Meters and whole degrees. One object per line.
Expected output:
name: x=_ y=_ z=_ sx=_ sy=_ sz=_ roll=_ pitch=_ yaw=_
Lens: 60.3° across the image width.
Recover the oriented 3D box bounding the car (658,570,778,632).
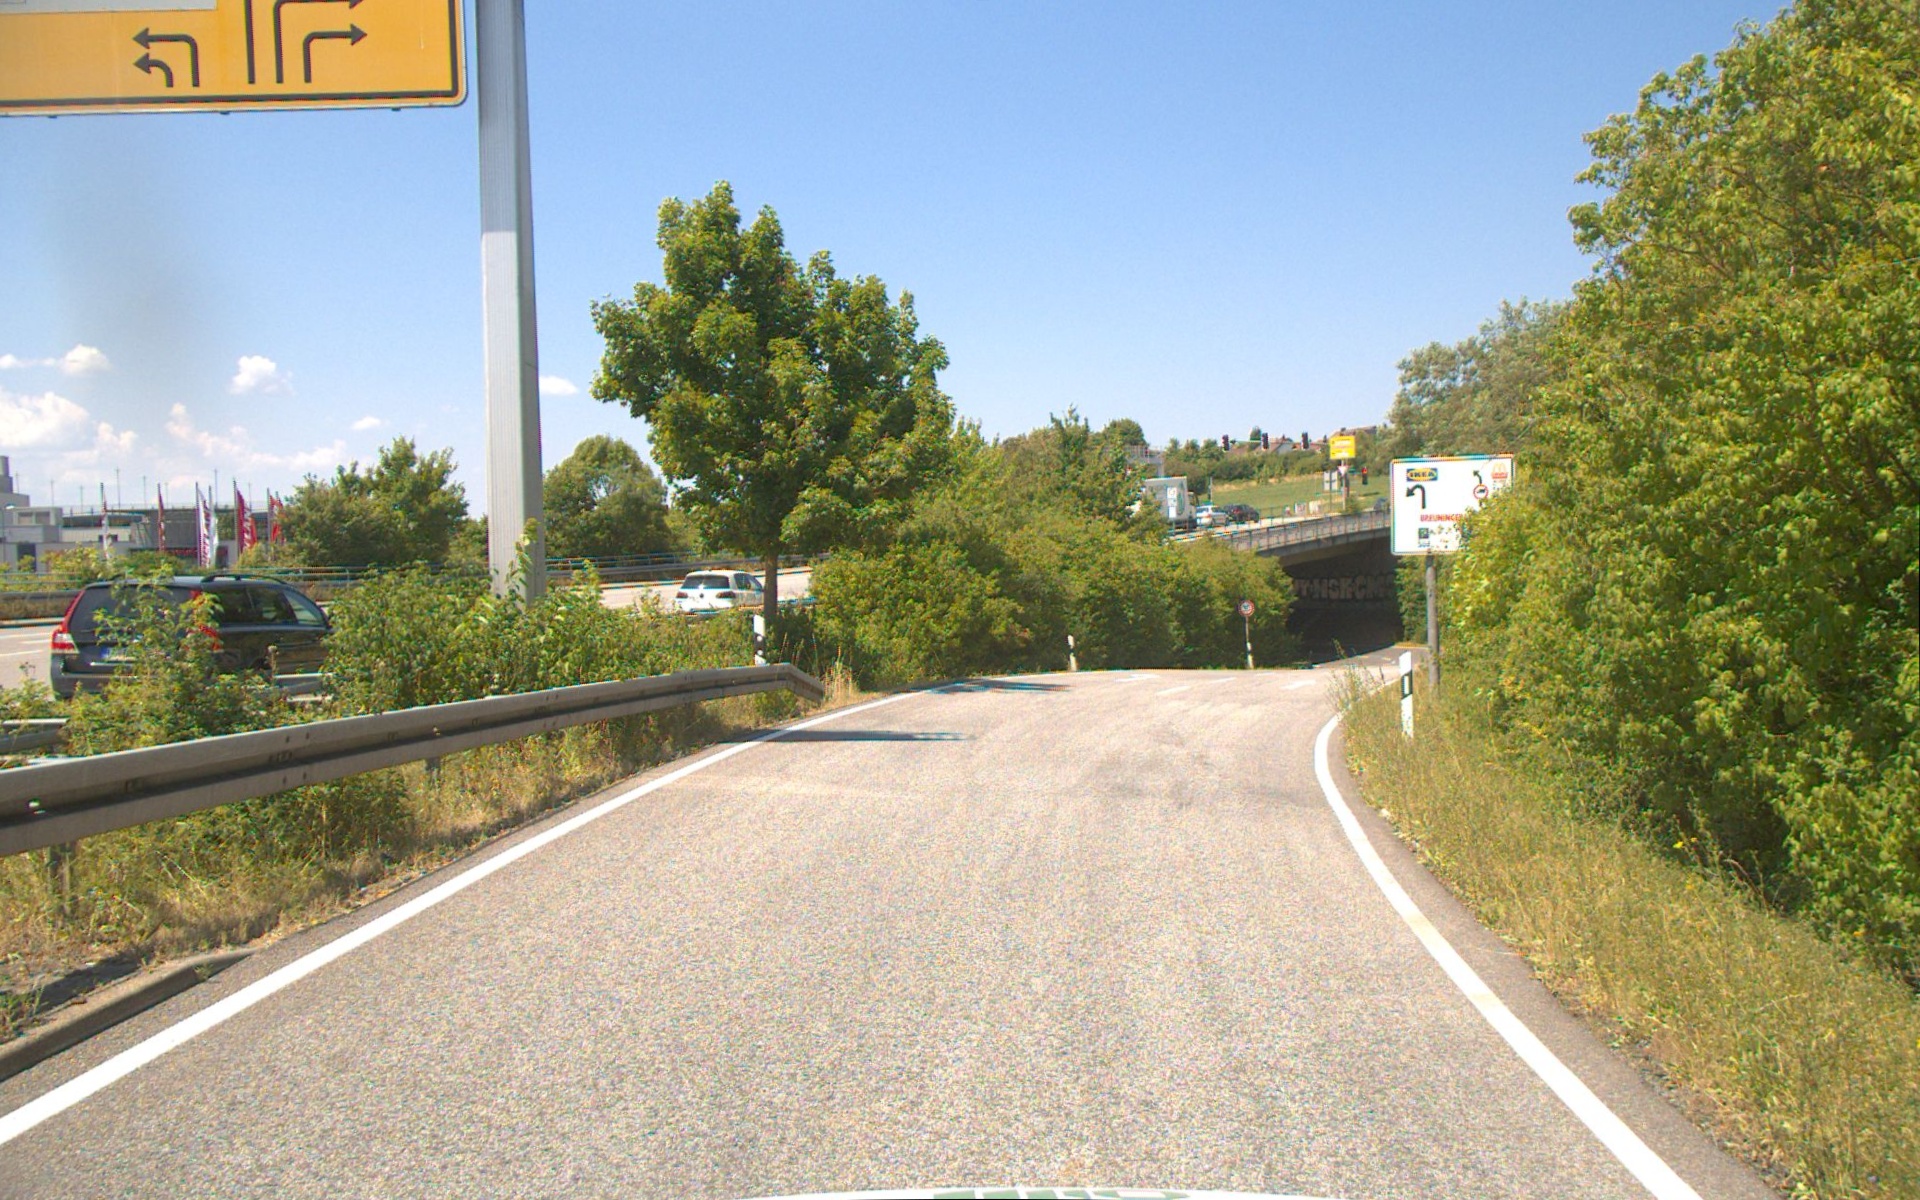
car: x=-6.184 y=0.014 z=42.724 sx=1.951 sy=1.512 sz=4.139 roll=-1 pitch=0 yaw=9

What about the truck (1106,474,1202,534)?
truck: x=12.847 y=-6.251 z=108.516 sx=2.970 sy=3.651 sz=8.890 roll=-3 pitch=1 yaw=29

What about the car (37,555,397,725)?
car: x=-7.857 y=0.364 z=18.055 sx=1.695 sy=1.572 sz=4.735 roll=-1 pitch=0 yaw=1

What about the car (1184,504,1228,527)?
car: x=17.050 y=-5.833 z=114.533 sx=1.860 sy=1.387 sz=3.995 roll=0 pitch=0 yaw=28

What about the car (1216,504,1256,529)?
car: x=20.187 y=-6.109 z=120.820 sx=1.953 sy=1.646 sz=3.998 roll=0 pitch=0 yaw=24
